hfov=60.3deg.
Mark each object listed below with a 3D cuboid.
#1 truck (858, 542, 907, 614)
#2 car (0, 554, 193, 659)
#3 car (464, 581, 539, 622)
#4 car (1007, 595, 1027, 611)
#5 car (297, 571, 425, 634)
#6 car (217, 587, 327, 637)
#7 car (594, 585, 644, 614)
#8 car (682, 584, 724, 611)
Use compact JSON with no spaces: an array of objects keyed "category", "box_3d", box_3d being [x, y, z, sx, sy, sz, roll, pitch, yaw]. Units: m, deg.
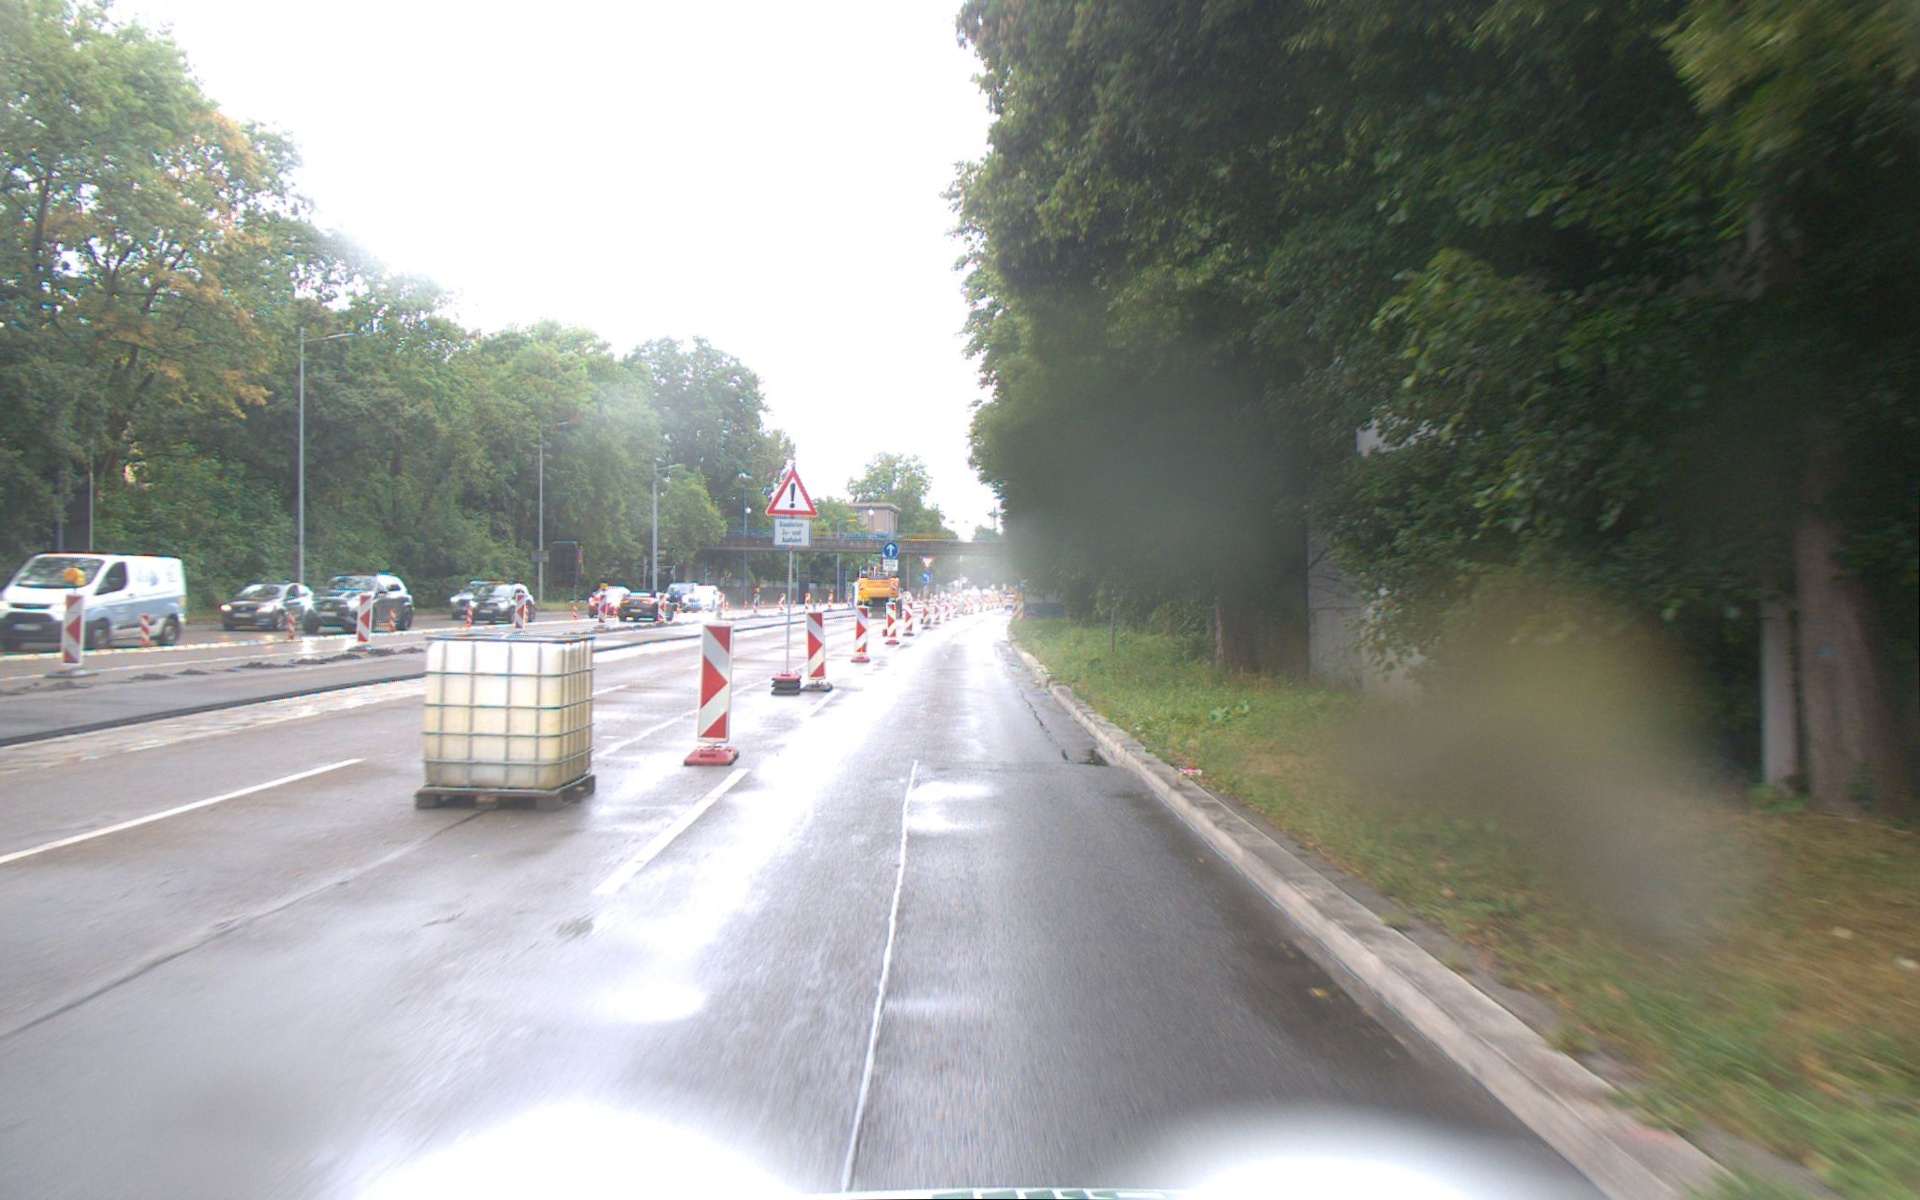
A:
[{"category":"truck","box_3d":[-4.936,-1.394,106.588,2.839,4.333,10.753,1,0,-1]},{"category":"car","box_3d":[-18.174,0.100,34.653,1.953,2.006,4.902,1,0,-1]},{"category":"car","box_3d":[-17.825,0.026,64.449,1.740,1.513,4.196,1,0,0]},{"category":"car","box_3d":[5.947,0.319,171.780,1.952,1.668,4.002,0,0,3]},{"category":"car","box_3d":[-17.938,0.060,49.808,1.980,1.755,5.013,1,0,0]},{"category":"car","box_3d":[-20.802,0.336,50.160,1.611,1.445,4.000,1,0,1]},{"category":"car","box_3d":[-17.139,-0.029,83.207,1.644,1.425,4.013,1,0,0]},{"category":"car","box_3d":[-16.337,-0.163,105.361,1.851,1.690,4.893,1,0,0]}]
